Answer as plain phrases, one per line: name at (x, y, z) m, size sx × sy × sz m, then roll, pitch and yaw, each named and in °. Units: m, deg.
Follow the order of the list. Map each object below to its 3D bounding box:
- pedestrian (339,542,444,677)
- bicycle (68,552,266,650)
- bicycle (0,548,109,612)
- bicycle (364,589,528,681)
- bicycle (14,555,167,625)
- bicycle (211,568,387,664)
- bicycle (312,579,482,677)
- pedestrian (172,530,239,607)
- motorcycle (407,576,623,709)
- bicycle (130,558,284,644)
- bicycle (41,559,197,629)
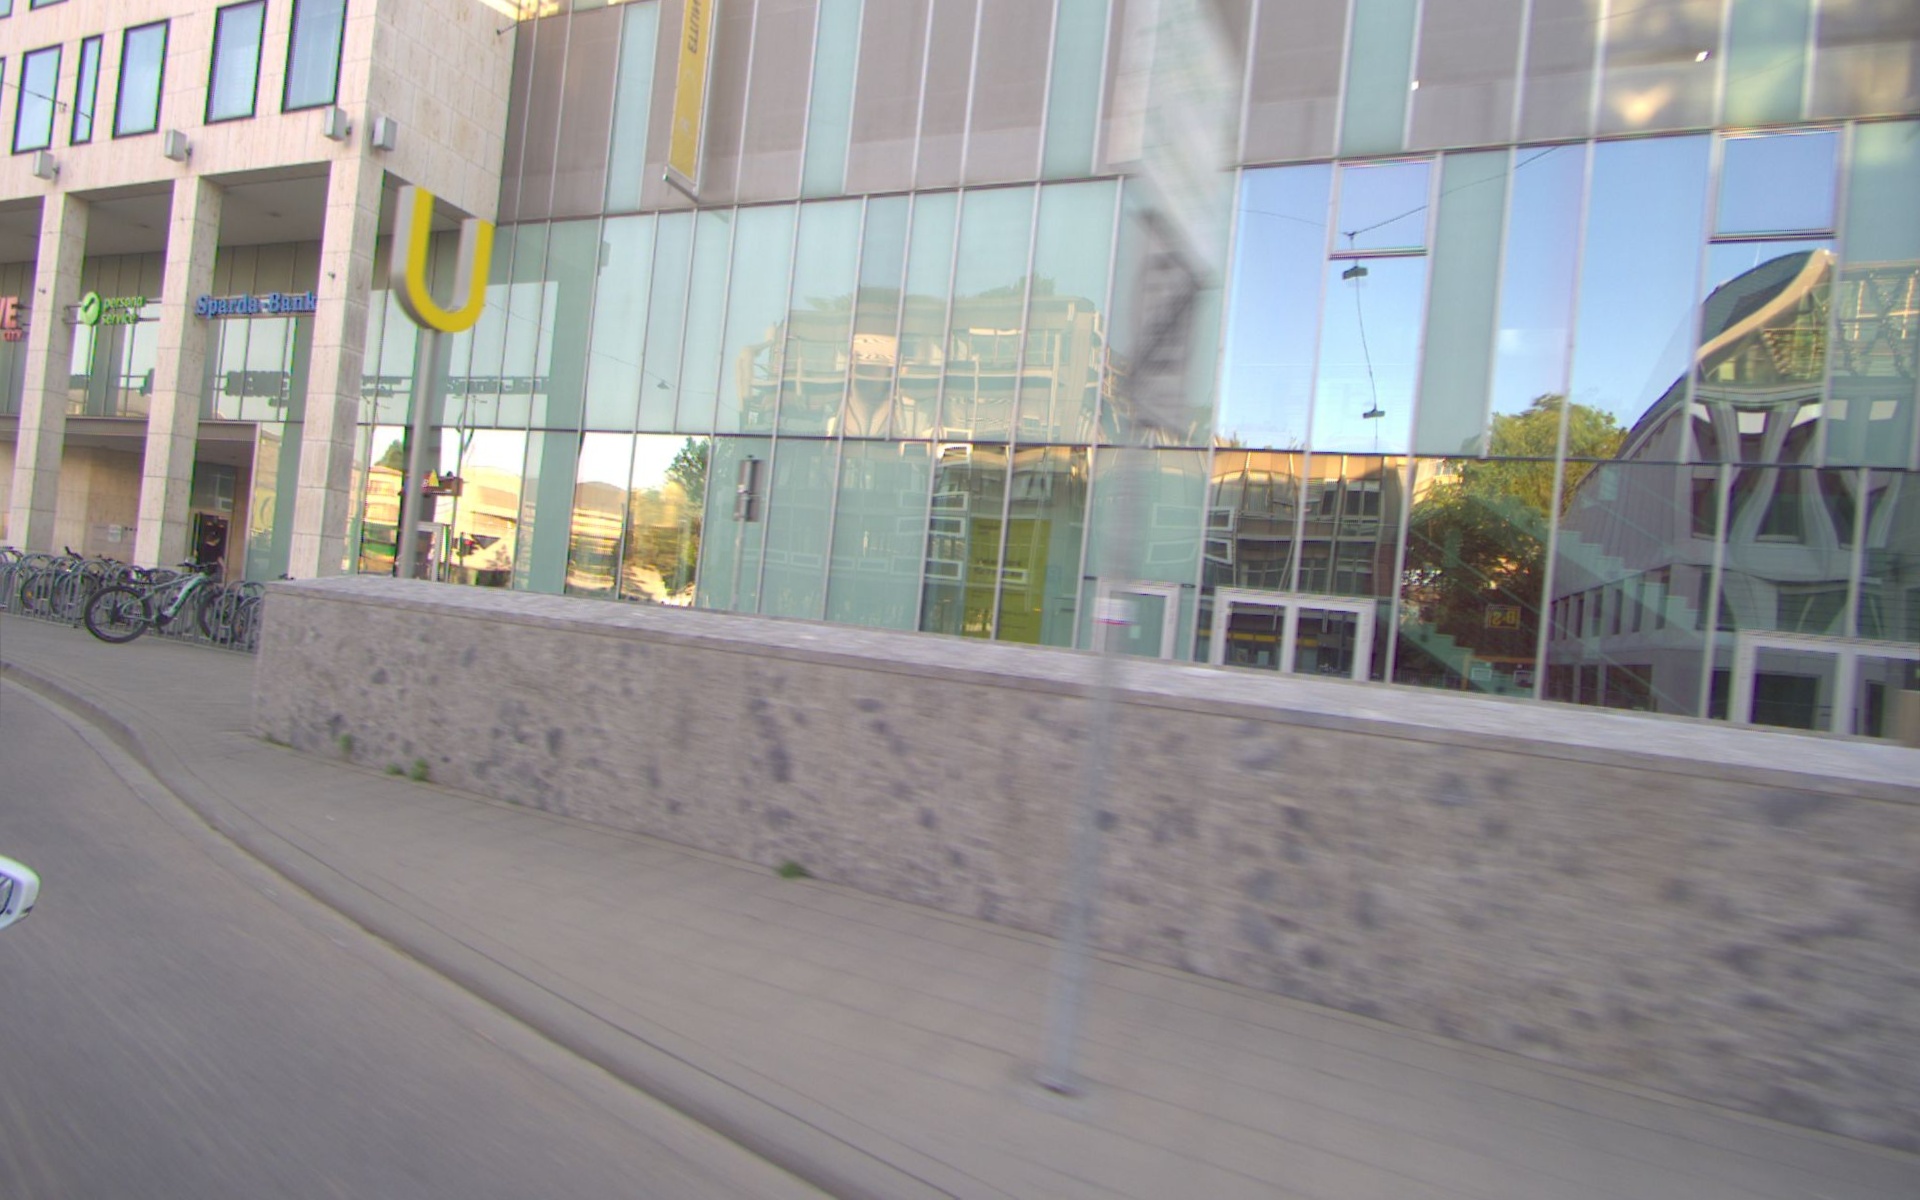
pedestrian at (-7.888, 0.145, 13.963) m, size 0.805 × 1.756 × 0.837 m, roll 6°, pitch 0°, yaw 30°
bicycle at (-10.717, 0.048, 13.694) m, size 0.560 × 1.143 × 1.992 m, roll 6°, pitch -1°, yaw 27°
bicycle at (-16.625, -0.354, 18.271) m, size 0.589 × 1.035 × 1.710 m, roll 6°, pitch -1°, yaw 12°
bicycle at (-7.016, 0.513, 13.852) m, size 0.507 × 1.143 × 1.992 m, roll 6°, pitch -1°, yaw 27°
bicycle at (-13.805, -0.136, 16.037) m, size 0.507 × 0.947 × 1.744 m, roll 6°, pitch -1°, yaw 21°
bicycle at (-9.457, 0.271, 14.498) m, size 0.546 × 1.142 × 1.995 m, roll 6°, pitch -4°, yaw 27°
bicycle at (-7.659, 0.420, 13.798) m, size 0.507 × 1.193 × 1.992 m, roll 6°, pitch -1°, yaw 27°
pedestrian at (-18.907, -0.777, 25.212) m, size 0.972 × 1.799 × 0.863 m, roll 6°, pitch 1°, yaw 22°
motorcycle at (-5.184, 0.518, 11.936) m, size 0.890 × 1.349 × 2.306 m, roll 6°, pitch -1°, yaw 20°
bicycle at (-11.362, 0.040, 15.250) m, size 0.507 × 1.143 × 1.769 m, roll 6°, pitch -1°, yaw 25°
bicycle at (-13.205, -0.067, 15.864) m, size 0.507 × 0.947 × 1.814 m, roll 6°, pitch -1°, yaw 21°
